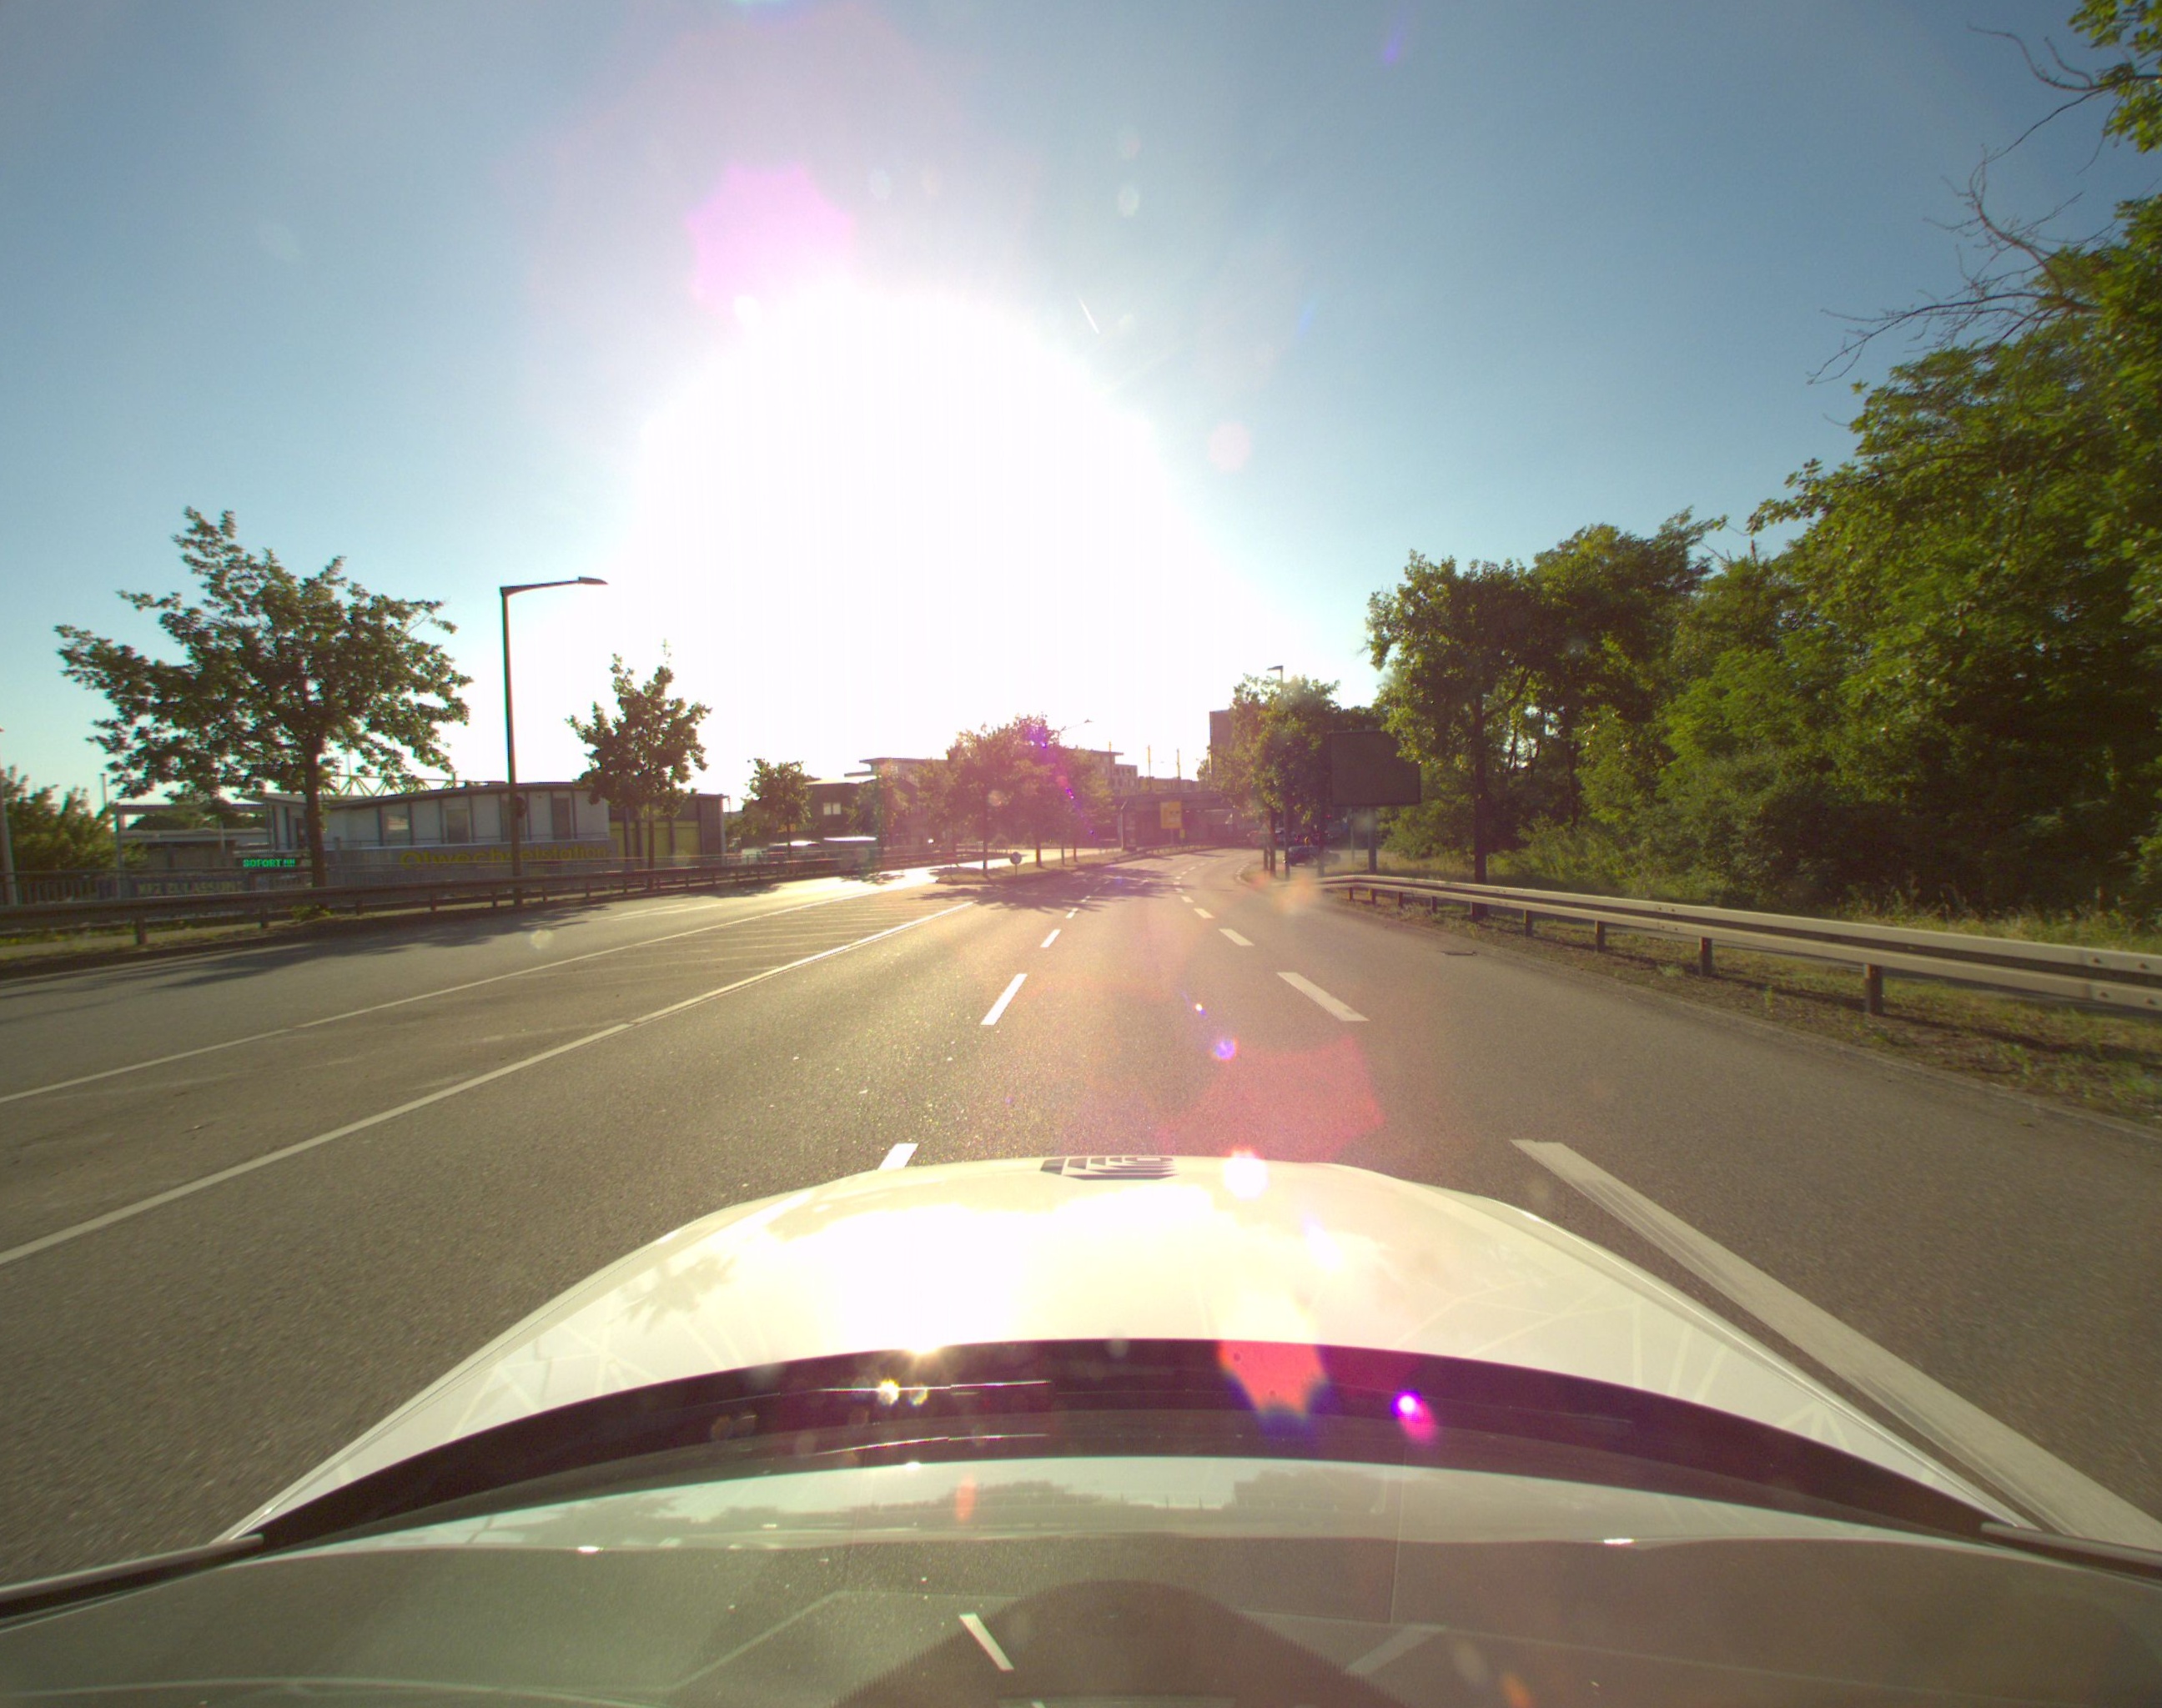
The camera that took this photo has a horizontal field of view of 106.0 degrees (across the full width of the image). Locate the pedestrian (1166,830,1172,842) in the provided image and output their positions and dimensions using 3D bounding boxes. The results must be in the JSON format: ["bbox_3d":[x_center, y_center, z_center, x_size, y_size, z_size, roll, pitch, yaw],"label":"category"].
[{"bbox_3d":[13.879,-2.788,128.205,0.687,1.903,0.669,0,2,35],"label":"pedestrian"}]

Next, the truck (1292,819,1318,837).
[{"bbox_3d":[32.800,-3.756,119.168,2.008,2.556,5.573,0,2,34],"label":"truck"}]

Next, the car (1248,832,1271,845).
[{"bbox_3d":[20.666,-1.782,94.409,1.567,1.408,3.856,1,2,29],"label":"car"}]

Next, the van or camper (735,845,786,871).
[{"bbox_3d":[-25.407,0.335,64.526,4.175,1.925,2.012,-1,0,42],"label":"van or camper"}]

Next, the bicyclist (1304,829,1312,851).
[{"bbox_3d":[19.735,-1.219,70.775,0.677,1.906,0.837,0,2,16],"label":"bicyclist"}]

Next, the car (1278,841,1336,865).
[{"bbox_3d":[16.715,-0.083,60.201,4.016,1.508,1.979,-4,0,-34],"label":"car"}]

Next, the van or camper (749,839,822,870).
[{"bbox_3d":[-17.824,-0.015,49.418,1.982,1.685,4.974,-1,1,9],"label":"van or camper"}]

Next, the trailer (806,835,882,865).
[{"bbox_3d":[-16.621,-0.363,57.532,2.404,1.969,6.626,-1,1,10],"label":"trailer"}]

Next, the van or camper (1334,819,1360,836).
[{"bbox_3d":[40.452,-4.048,123.881,1.974,2.570,5.956,0,2,37],"label":"van or camper"}]

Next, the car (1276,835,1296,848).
[{"bbox_3d":[25.485,-1.595,101.059,1.532,1.423,3.439,-4,1,29],"label":"car"}]

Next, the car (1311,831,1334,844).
[{"bbox_3d":[30.640,-2.084,103.402,1.755,1.495,3.857,-1,1,33],"label":"car"}]

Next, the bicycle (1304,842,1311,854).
[{"bbox_3d":[19.701,-0.542,70.697,0.574,0.963,2.899,-1,2,16],"label":"bicycle"}]

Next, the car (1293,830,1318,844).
[{"bbox_3d":[26.759,-2.056,97.065,1.724,1.454,4.636,0,4,30],"label":"car"}]

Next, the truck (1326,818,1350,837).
[{"bbox_3d":[34.754,-3.527,110.154,2.091,2.519,4.429,-1,1,32],"label":"truck"}]

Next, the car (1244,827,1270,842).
[{"bbox_3d":[22.090,-2.443,102.271,1.812,1.738,4.490,0,2,31],"label":"car"}]

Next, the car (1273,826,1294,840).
[{"bbox_3d":[28.027,-2.872,112.610,1.824,1.719,4.025,-4,0,28],"label":"car"}]
